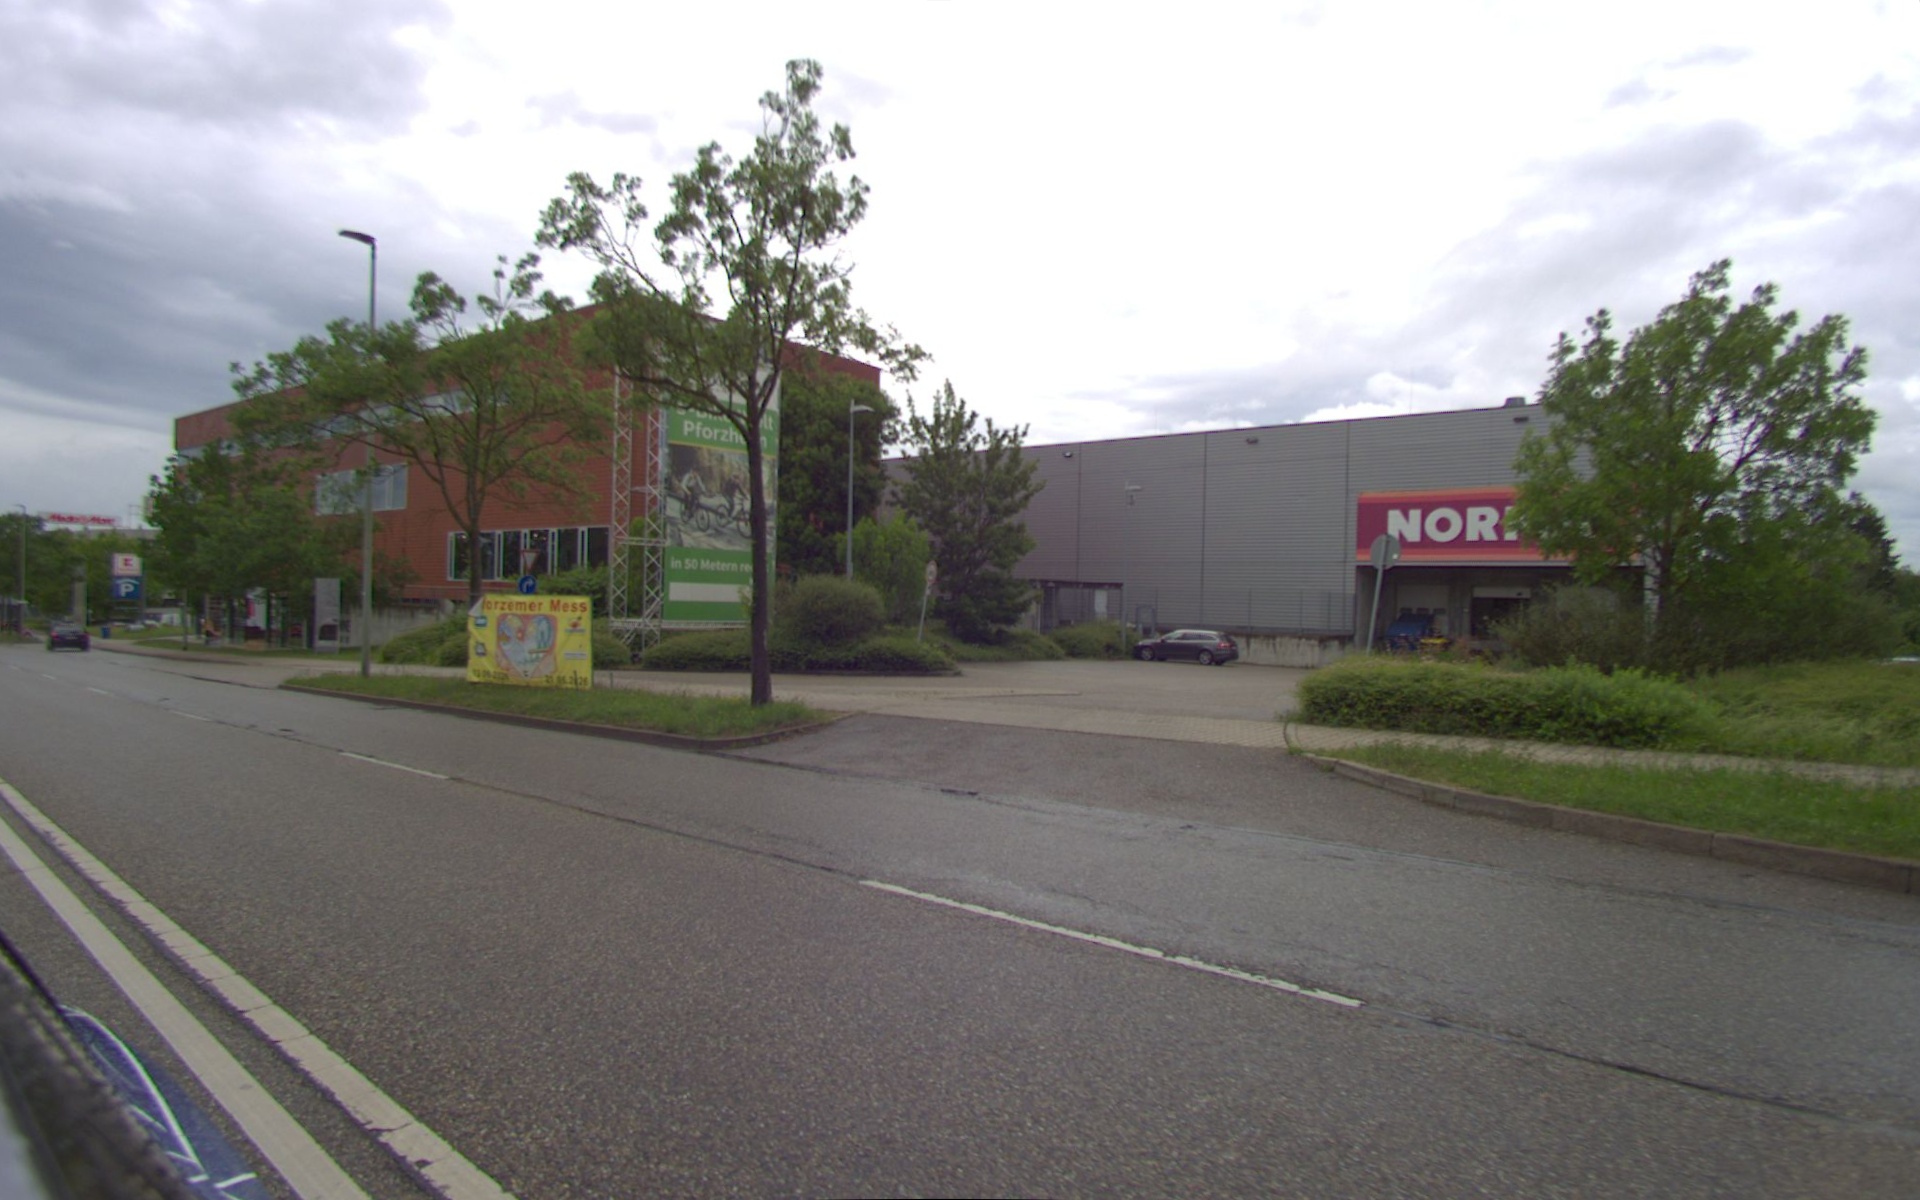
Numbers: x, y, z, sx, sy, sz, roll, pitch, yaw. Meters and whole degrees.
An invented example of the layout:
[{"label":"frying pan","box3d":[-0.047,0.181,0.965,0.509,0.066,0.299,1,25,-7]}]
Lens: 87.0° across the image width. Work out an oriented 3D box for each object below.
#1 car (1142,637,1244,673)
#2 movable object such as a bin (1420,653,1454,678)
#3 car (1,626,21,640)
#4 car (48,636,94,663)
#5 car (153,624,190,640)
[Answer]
[{"label":"car","box3d":[10.538,2.458,45.861,4.145,1.580,1.755,-1,-2,35]},{"label":"movable object such as a bin","box3d":[24.055,3.294,50.986,1.241,1.188,1.406,1,-2,39]},{"label":"car","box3d":[-123.187,4.274,131.362,1.806,1.630,4.005,-1,-1,-42]},{"label":"car","box3d":[-51.681,2.860,58.808,1.716,1.465,4.002,3,-4,-44]},{"label":"car","box3d":[-83.465,3.362,107.102,4.429,1.630,1.812,-1,-2,35]}]
